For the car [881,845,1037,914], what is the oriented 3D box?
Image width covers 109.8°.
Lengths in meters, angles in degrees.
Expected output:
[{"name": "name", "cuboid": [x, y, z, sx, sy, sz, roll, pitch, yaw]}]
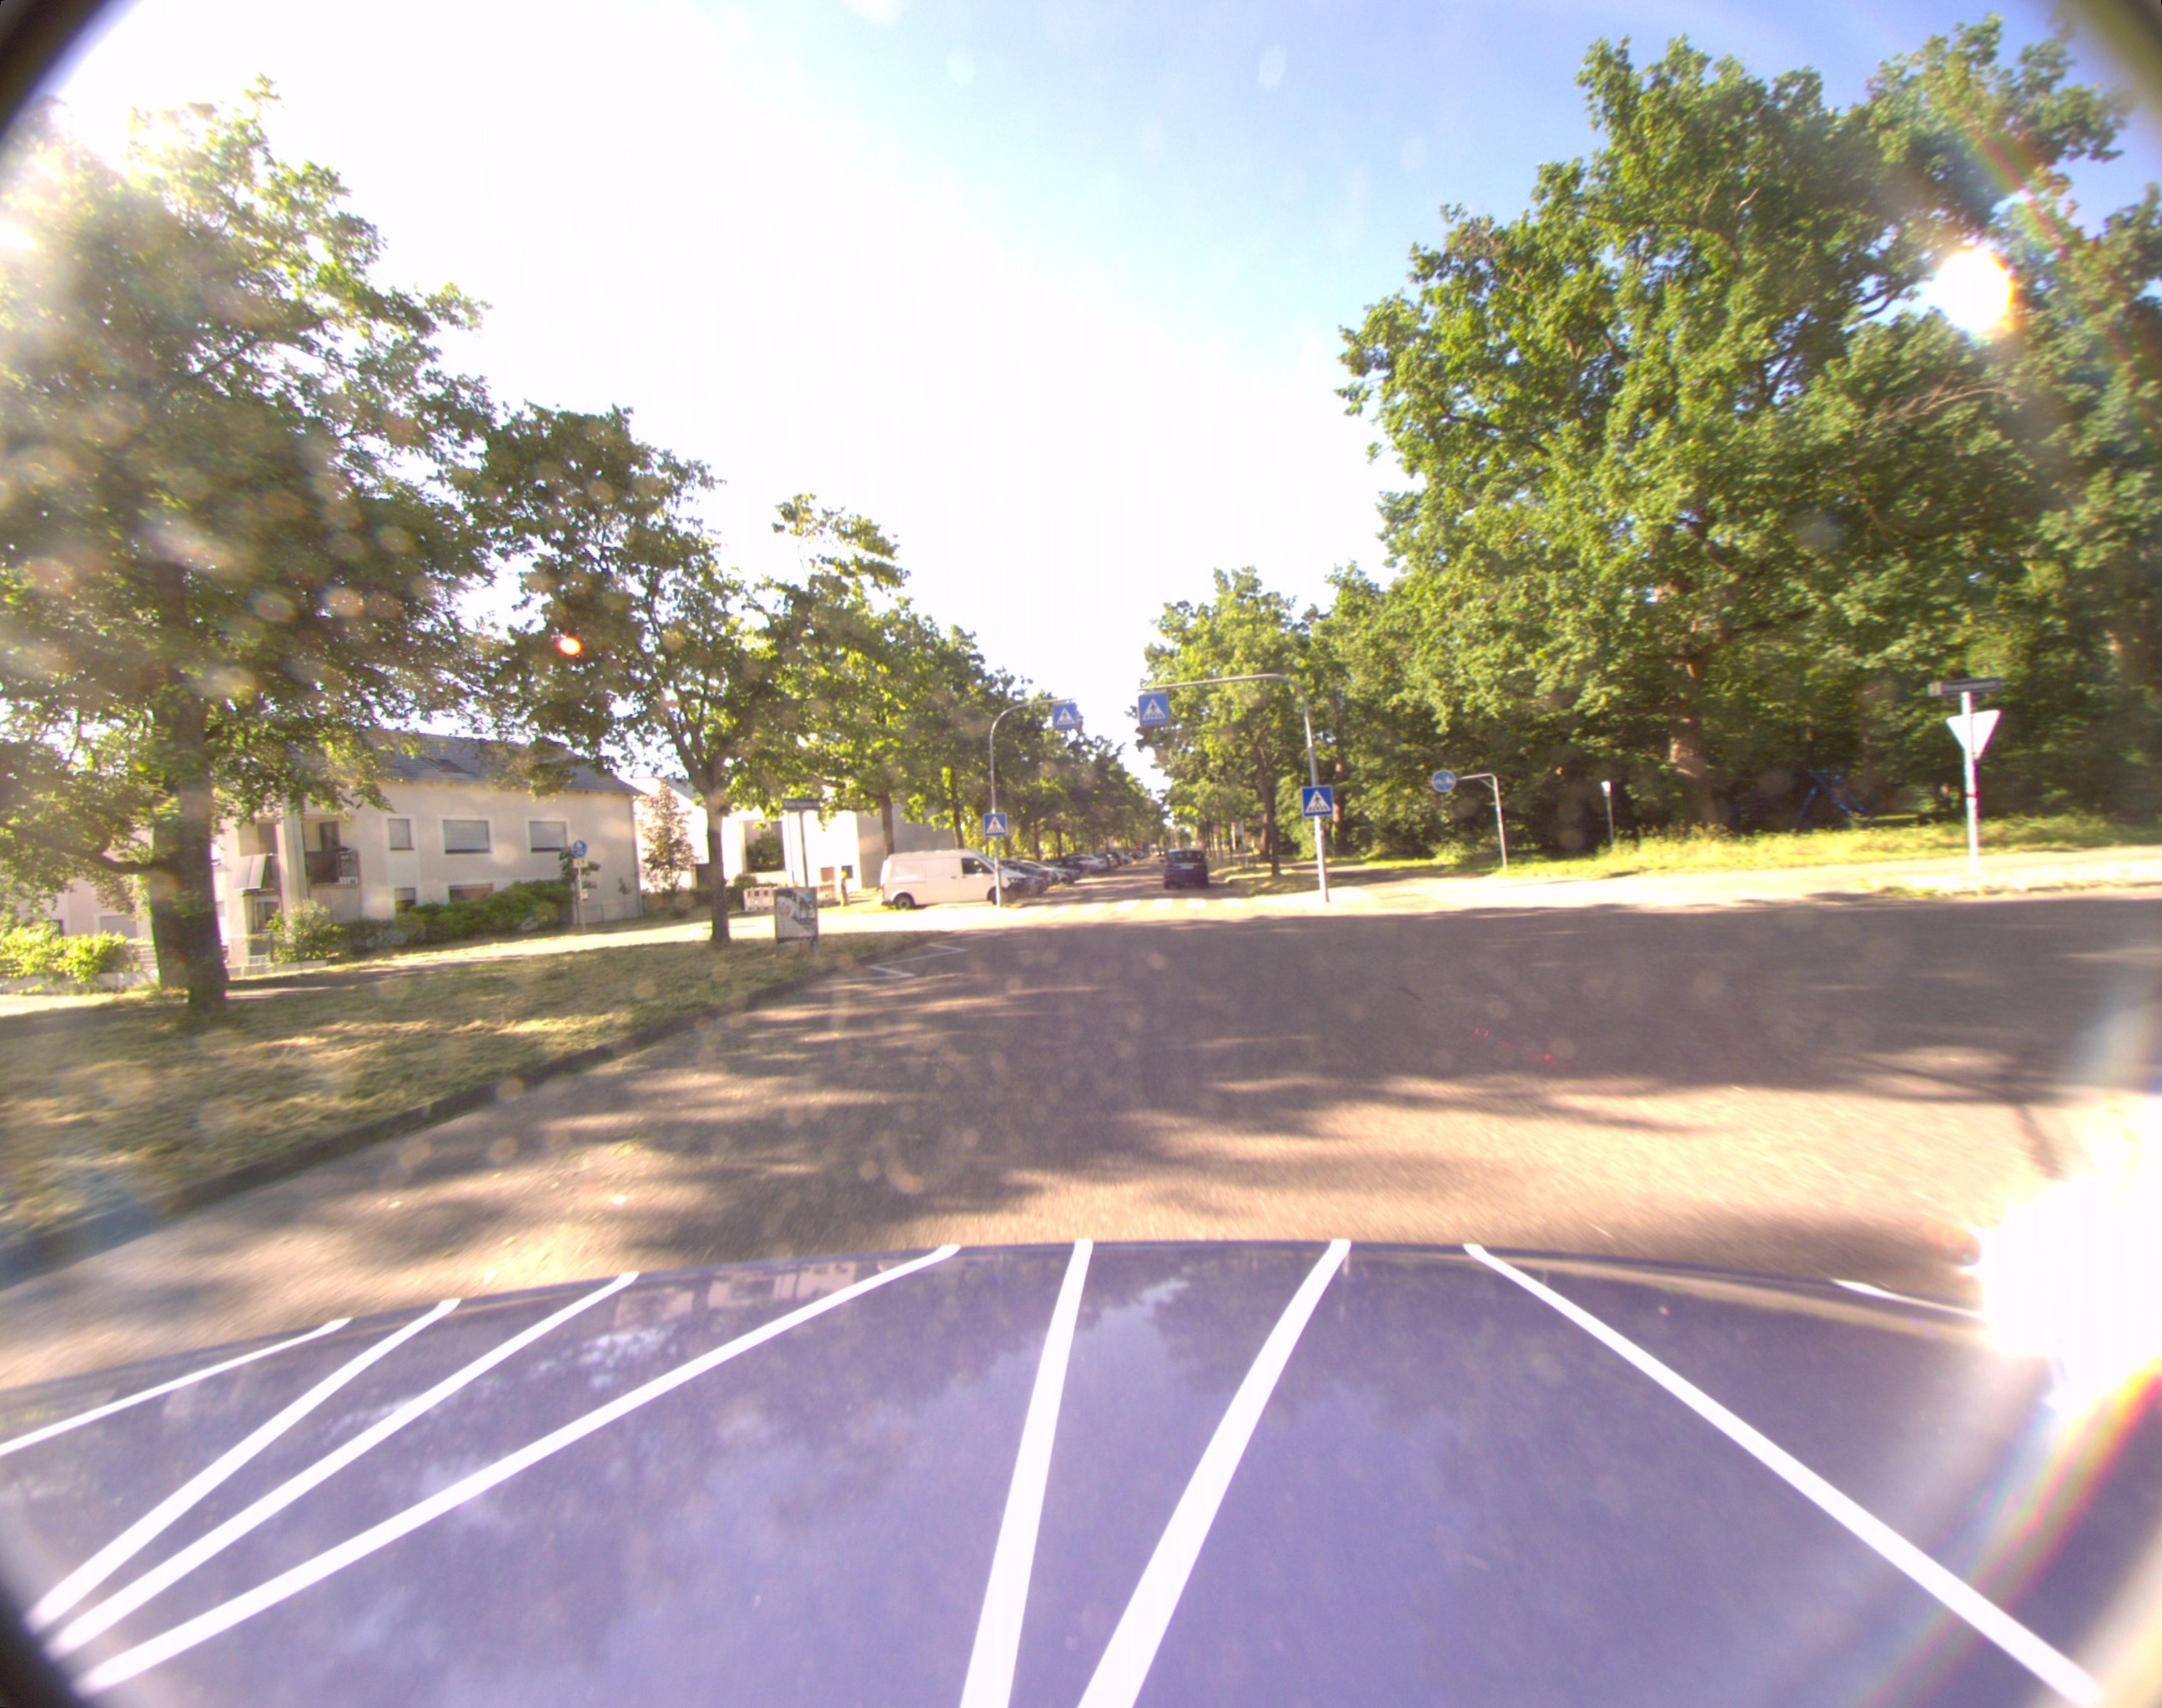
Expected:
[{"name": "car", "cuboid": [-4.316, 0.882, 27.241, 5.043, 2.069, 1.891, -4, 0, 7]}]

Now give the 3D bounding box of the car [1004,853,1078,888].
[{"name": "car", "cuboid": [-2.344, 0.975, 44.949, 4.017, 1.650, 1.533, -5, 0, 9]}]

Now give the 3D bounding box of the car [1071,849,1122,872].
[{"name": "car", "cuboid": [1.452, 0.596, 71.085, 4.393, 1.733, 1.533, -5, 0, 9]}]

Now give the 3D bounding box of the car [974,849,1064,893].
[{"name": "car", "cuboid": [-3.017, 0.841, 37.361, 4.017, 1.783, 1.714, -5, 0, 9]}]

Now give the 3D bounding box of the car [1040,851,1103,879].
[{"name": "car", "cuboid": [-0.722, 0.821, 56.943, 4.393, 1.632, 1.533, -5, 0, 9]}]

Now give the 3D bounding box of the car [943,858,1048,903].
[{"name": "car", "cuboid": [-3.617, 1.114, 32.464, 3.994, 1.554, 1.758, -5, 0, 9]}]

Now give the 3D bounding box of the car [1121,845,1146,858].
[{"name": "car", "cuboid": [9.044, -0.482, 130.578, 4.149, 1.838, 1.950, -5, 0, 8]}]

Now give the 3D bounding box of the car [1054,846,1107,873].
[{"name": "car", "cuboid": [-0.047, 0.502, 67.396, 4.393, 1.977, 1.533, -5, 0, 9]}]

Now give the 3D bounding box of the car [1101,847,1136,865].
[{"name": "car", "cuboid": [4.613, 0.187, 93.533, 3.995, 1.838, 1.864, -5, 0, 8]}]

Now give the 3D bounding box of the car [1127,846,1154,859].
[{"name": "car", "cuboid": [9.833, -0.209, 125.379, 4.149, 1.838, 1.950, -5, 0, 8]}]

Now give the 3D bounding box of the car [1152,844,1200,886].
[{"name": "car", "cuboid": [4.044, 0.420, 32.838, 1.825, 1.615, 4.494, -3, 0, 5]}]

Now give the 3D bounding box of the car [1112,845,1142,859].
[{"name": "car", "cuboid": [6.921, -0.303, 114.369, 4.149, 1.838, 1.950, -5, 0, 8]}]

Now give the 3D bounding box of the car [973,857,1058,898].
[{"name": "car", "cuboid": [-2.978, 1.046, 34.785, 3.514, 1.533, 1.449, -5, 0, 9]}]

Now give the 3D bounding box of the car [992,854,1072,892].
[{"name": "car", "cuboid": [-2.693, 1.043, 41.959, 4.017, 1.669, 1.533, -5, 0, 9]}]

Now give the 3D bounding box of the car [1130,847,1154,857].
[{"name": "car", "cuboid": [10.854, -0.316, 135.418, 4.149, 1.401, 1.801, -5, 0, 8]}]

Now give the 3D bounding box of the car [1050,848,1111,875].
[{"name": "car", "cuboid": [-0.025, 0.589, 59.620, 4.393, 1.733, 1.533, -5, 0, 9]}]
